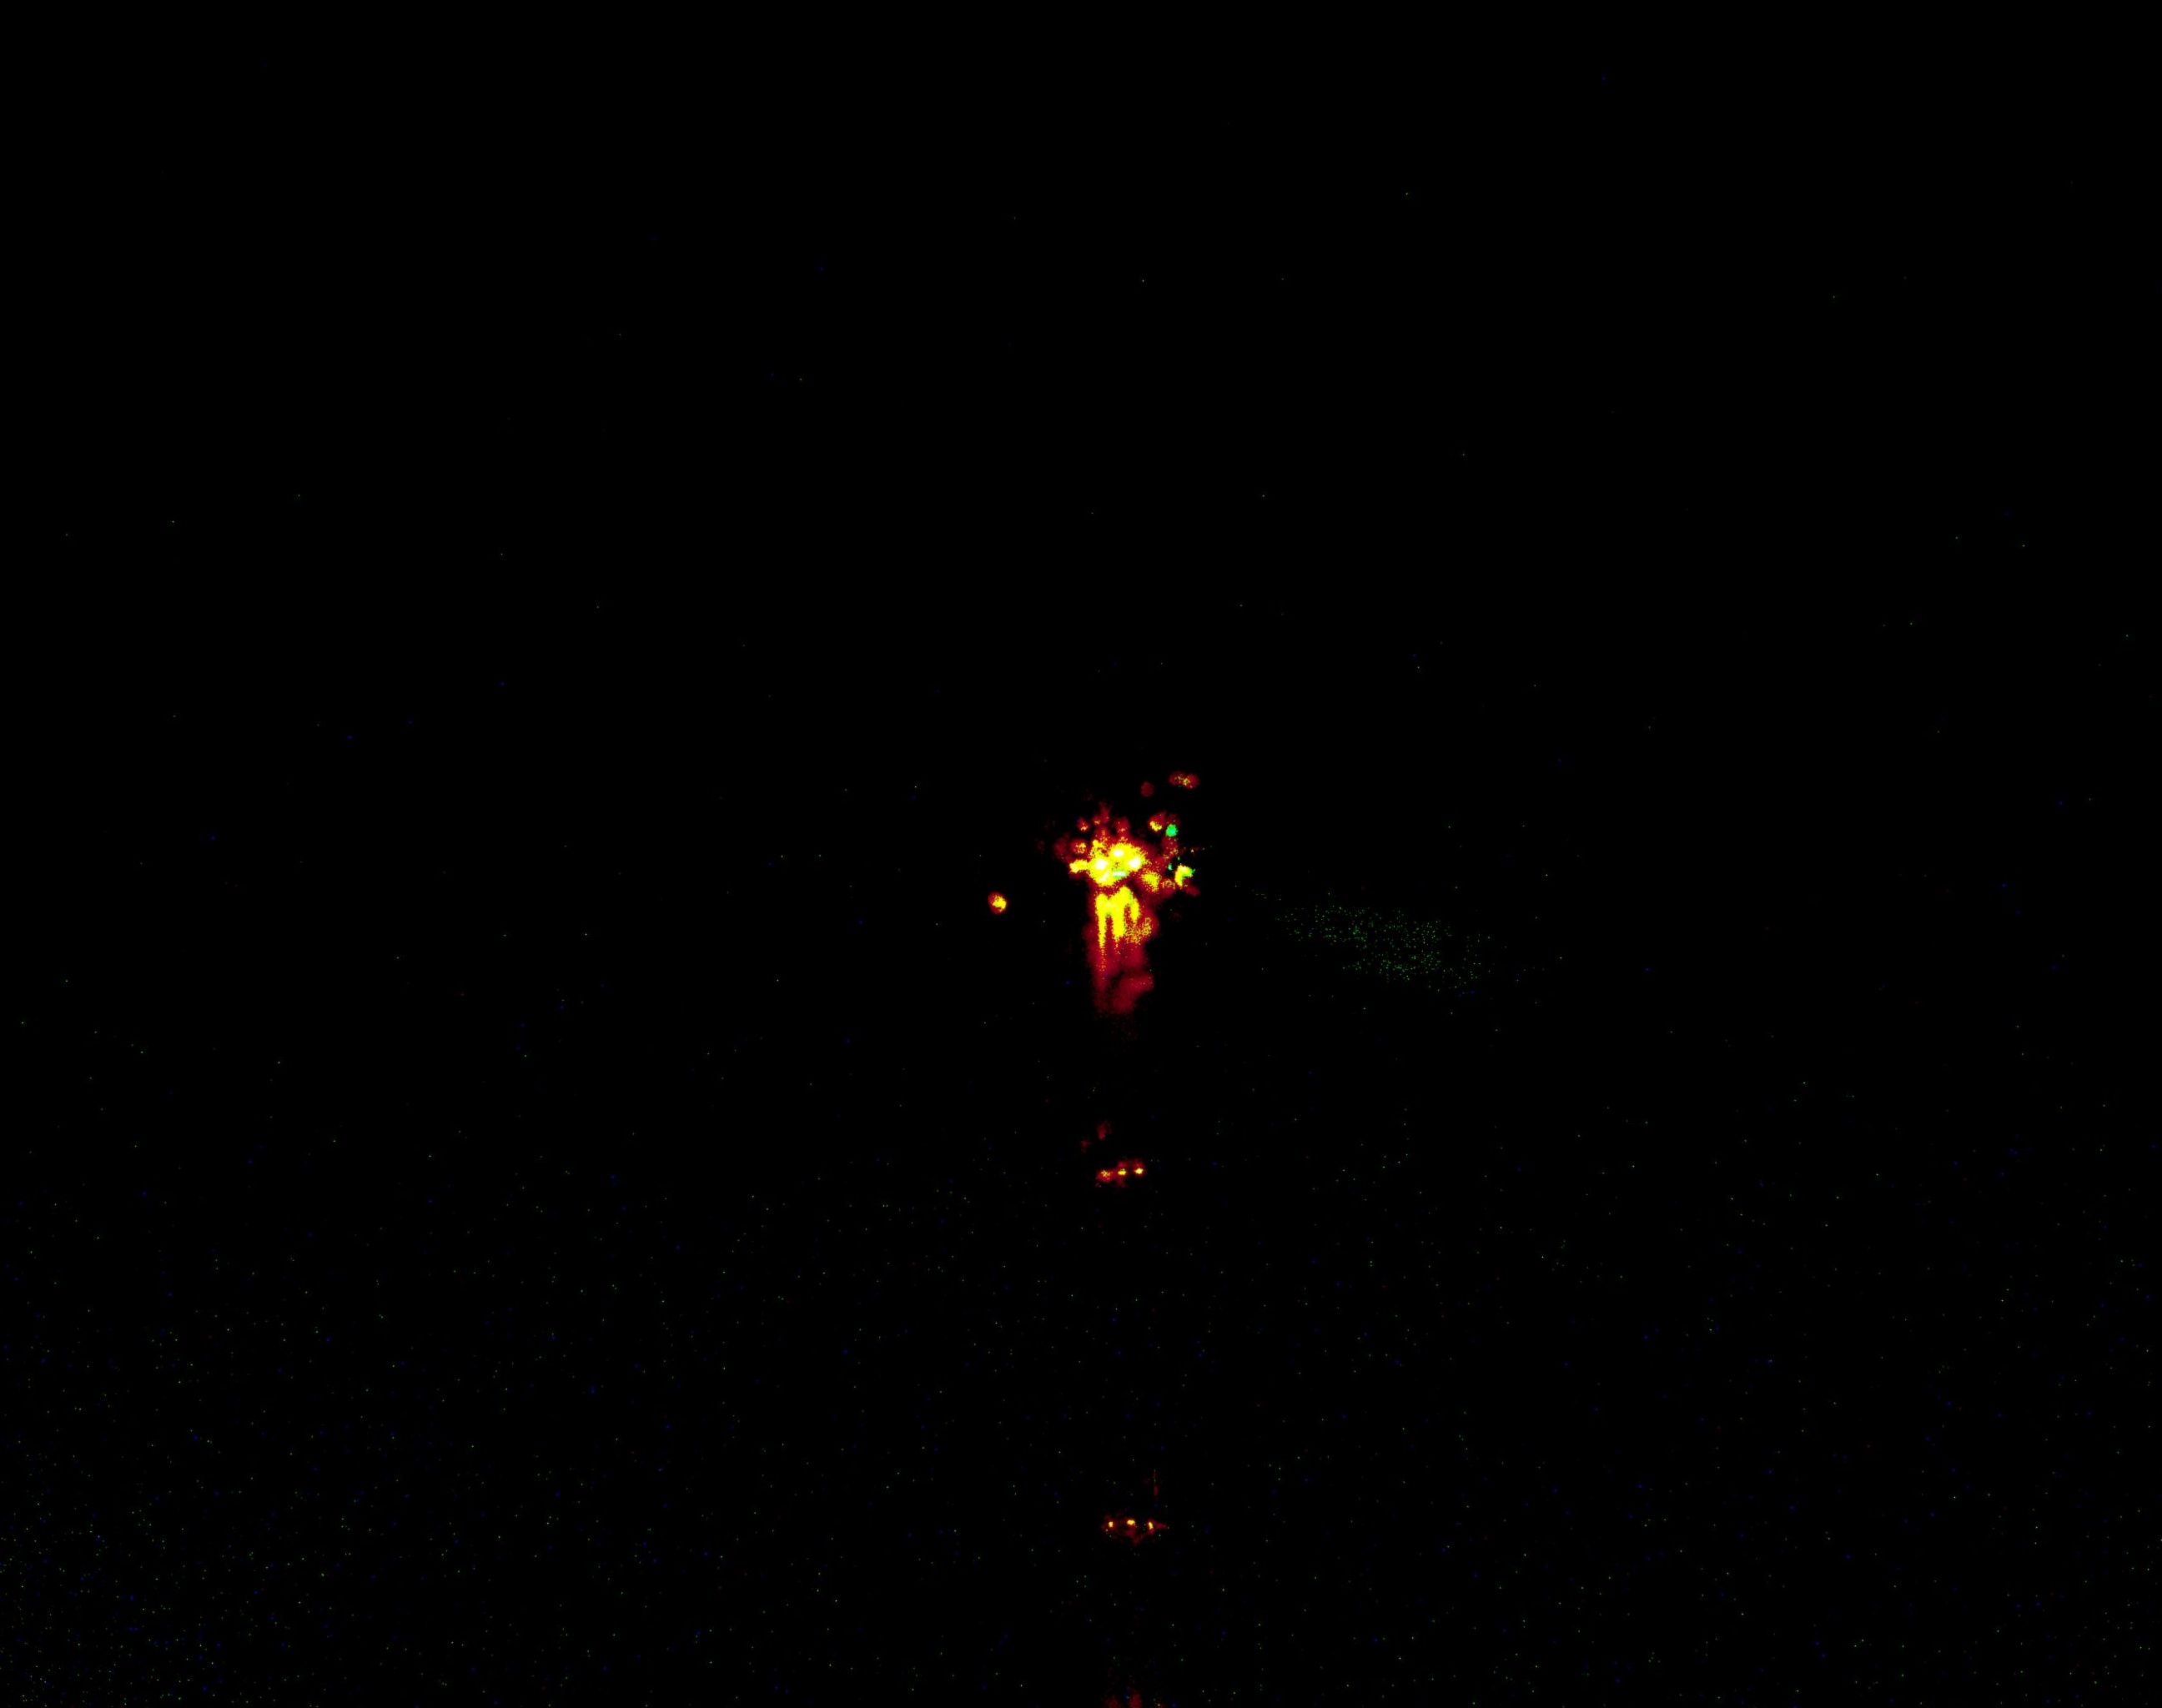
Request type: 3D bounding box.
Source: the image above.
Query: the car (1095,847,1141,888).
[{"bbox_3d":[1.575,0.537,34.456,1.794,1.628,3.618,-1,0,3],"label":"car"}]
